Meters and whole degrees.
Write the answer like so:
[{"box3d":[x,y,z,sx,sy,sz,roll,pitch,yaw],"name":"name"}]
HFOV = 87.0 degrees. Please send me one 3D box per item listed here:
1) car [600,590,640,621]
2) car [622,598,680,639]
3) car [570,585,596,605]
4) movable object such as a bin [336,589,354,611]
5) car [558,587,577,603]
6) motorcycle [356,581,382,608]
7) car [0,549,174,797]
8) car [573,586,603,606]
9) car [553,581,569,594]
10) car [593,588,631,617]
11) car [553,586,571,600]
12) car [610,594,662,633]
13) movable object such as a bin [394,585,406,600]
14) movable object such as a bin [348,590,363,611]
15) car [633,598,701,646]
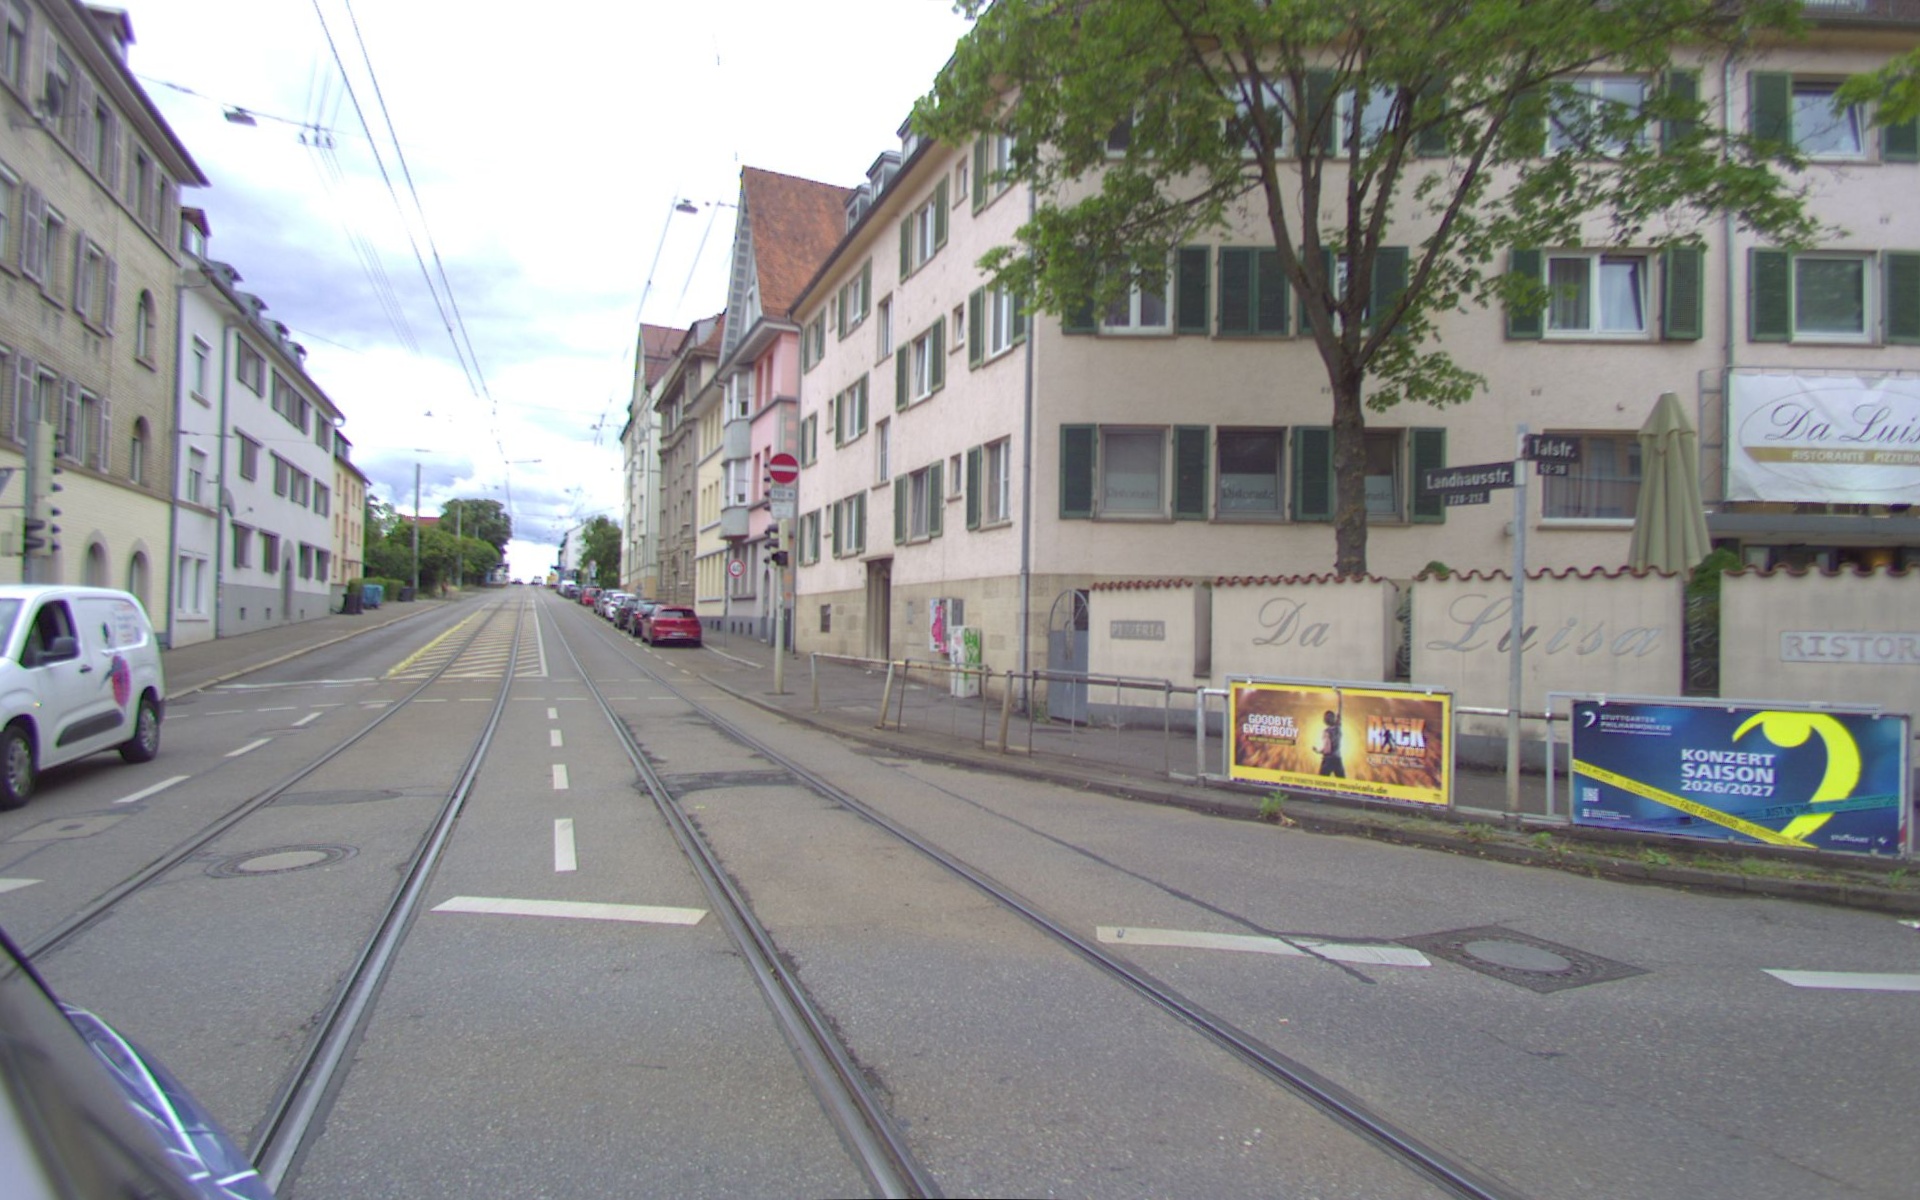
[{"box3d":[-18.368,0.253,54.601,1.714,1.522,3.814,2,1,-23],"name":"car"},{"box3d":[-12.633,0.709,41.224,1.759,1.421,4.256,3,0,-23],"name":"car"},{"box3d":[-32.167,-0.435,86.228,1.714,1.537,3.965,3,0,-24],"name":"car"},{"box3d":[-30.089,-0.005,49.514,0.627,1.017,0.604,5,-2,-23],"name":"movable object such as a bin"},{"box3d":[-42.542,-0.515,109.638,1.714,1.537,3.965,3,0,-24],"name":"car"},{"box3d":[-33.227,-0.312,56.902,0.720,1.400,1.942,5,-1,-17],"name":"motorcycle"},{"box3d":[-8.632,0.603,8.643,1.856,1.852,4.692,-1,-1,-23],"name":"car"},{"box3d":[-30.036,-0.319,81.744,1.714,1.469,3.965,3,0,-27],"name":"car"},{"box3d":[-51.898,-1.650,131.615,1.714,1.537,3.965,3,0,-24],"name":"car"},{"box3d":[-20.461,0.120,59.472,1.714,1.579,4.157,1,1,-24],"name":"car"},{"box3d":[-47.658,-0.817,121.245,1.714,1.537,3.965,3,0,-24],"name":"car"},{"box3d":[-14.790,0.589,46.021,1.759,1.522,4.541,3,0,-23],"name":"car"},{"box3d":[-40.154,-0.541,72.587,0.658,1.067,0.541,0,0,-23],"name":"movable object such as a bin"},{"box3d":[-30.274,0.030,50.657,0.556,1.017,0.500,5,-2,-32],"name":"movable object such as a bin"},{"box3d":[-10.508,0.761,36.086,1.759,1.449,4.276,3,0,-23],"name":"car"}]
